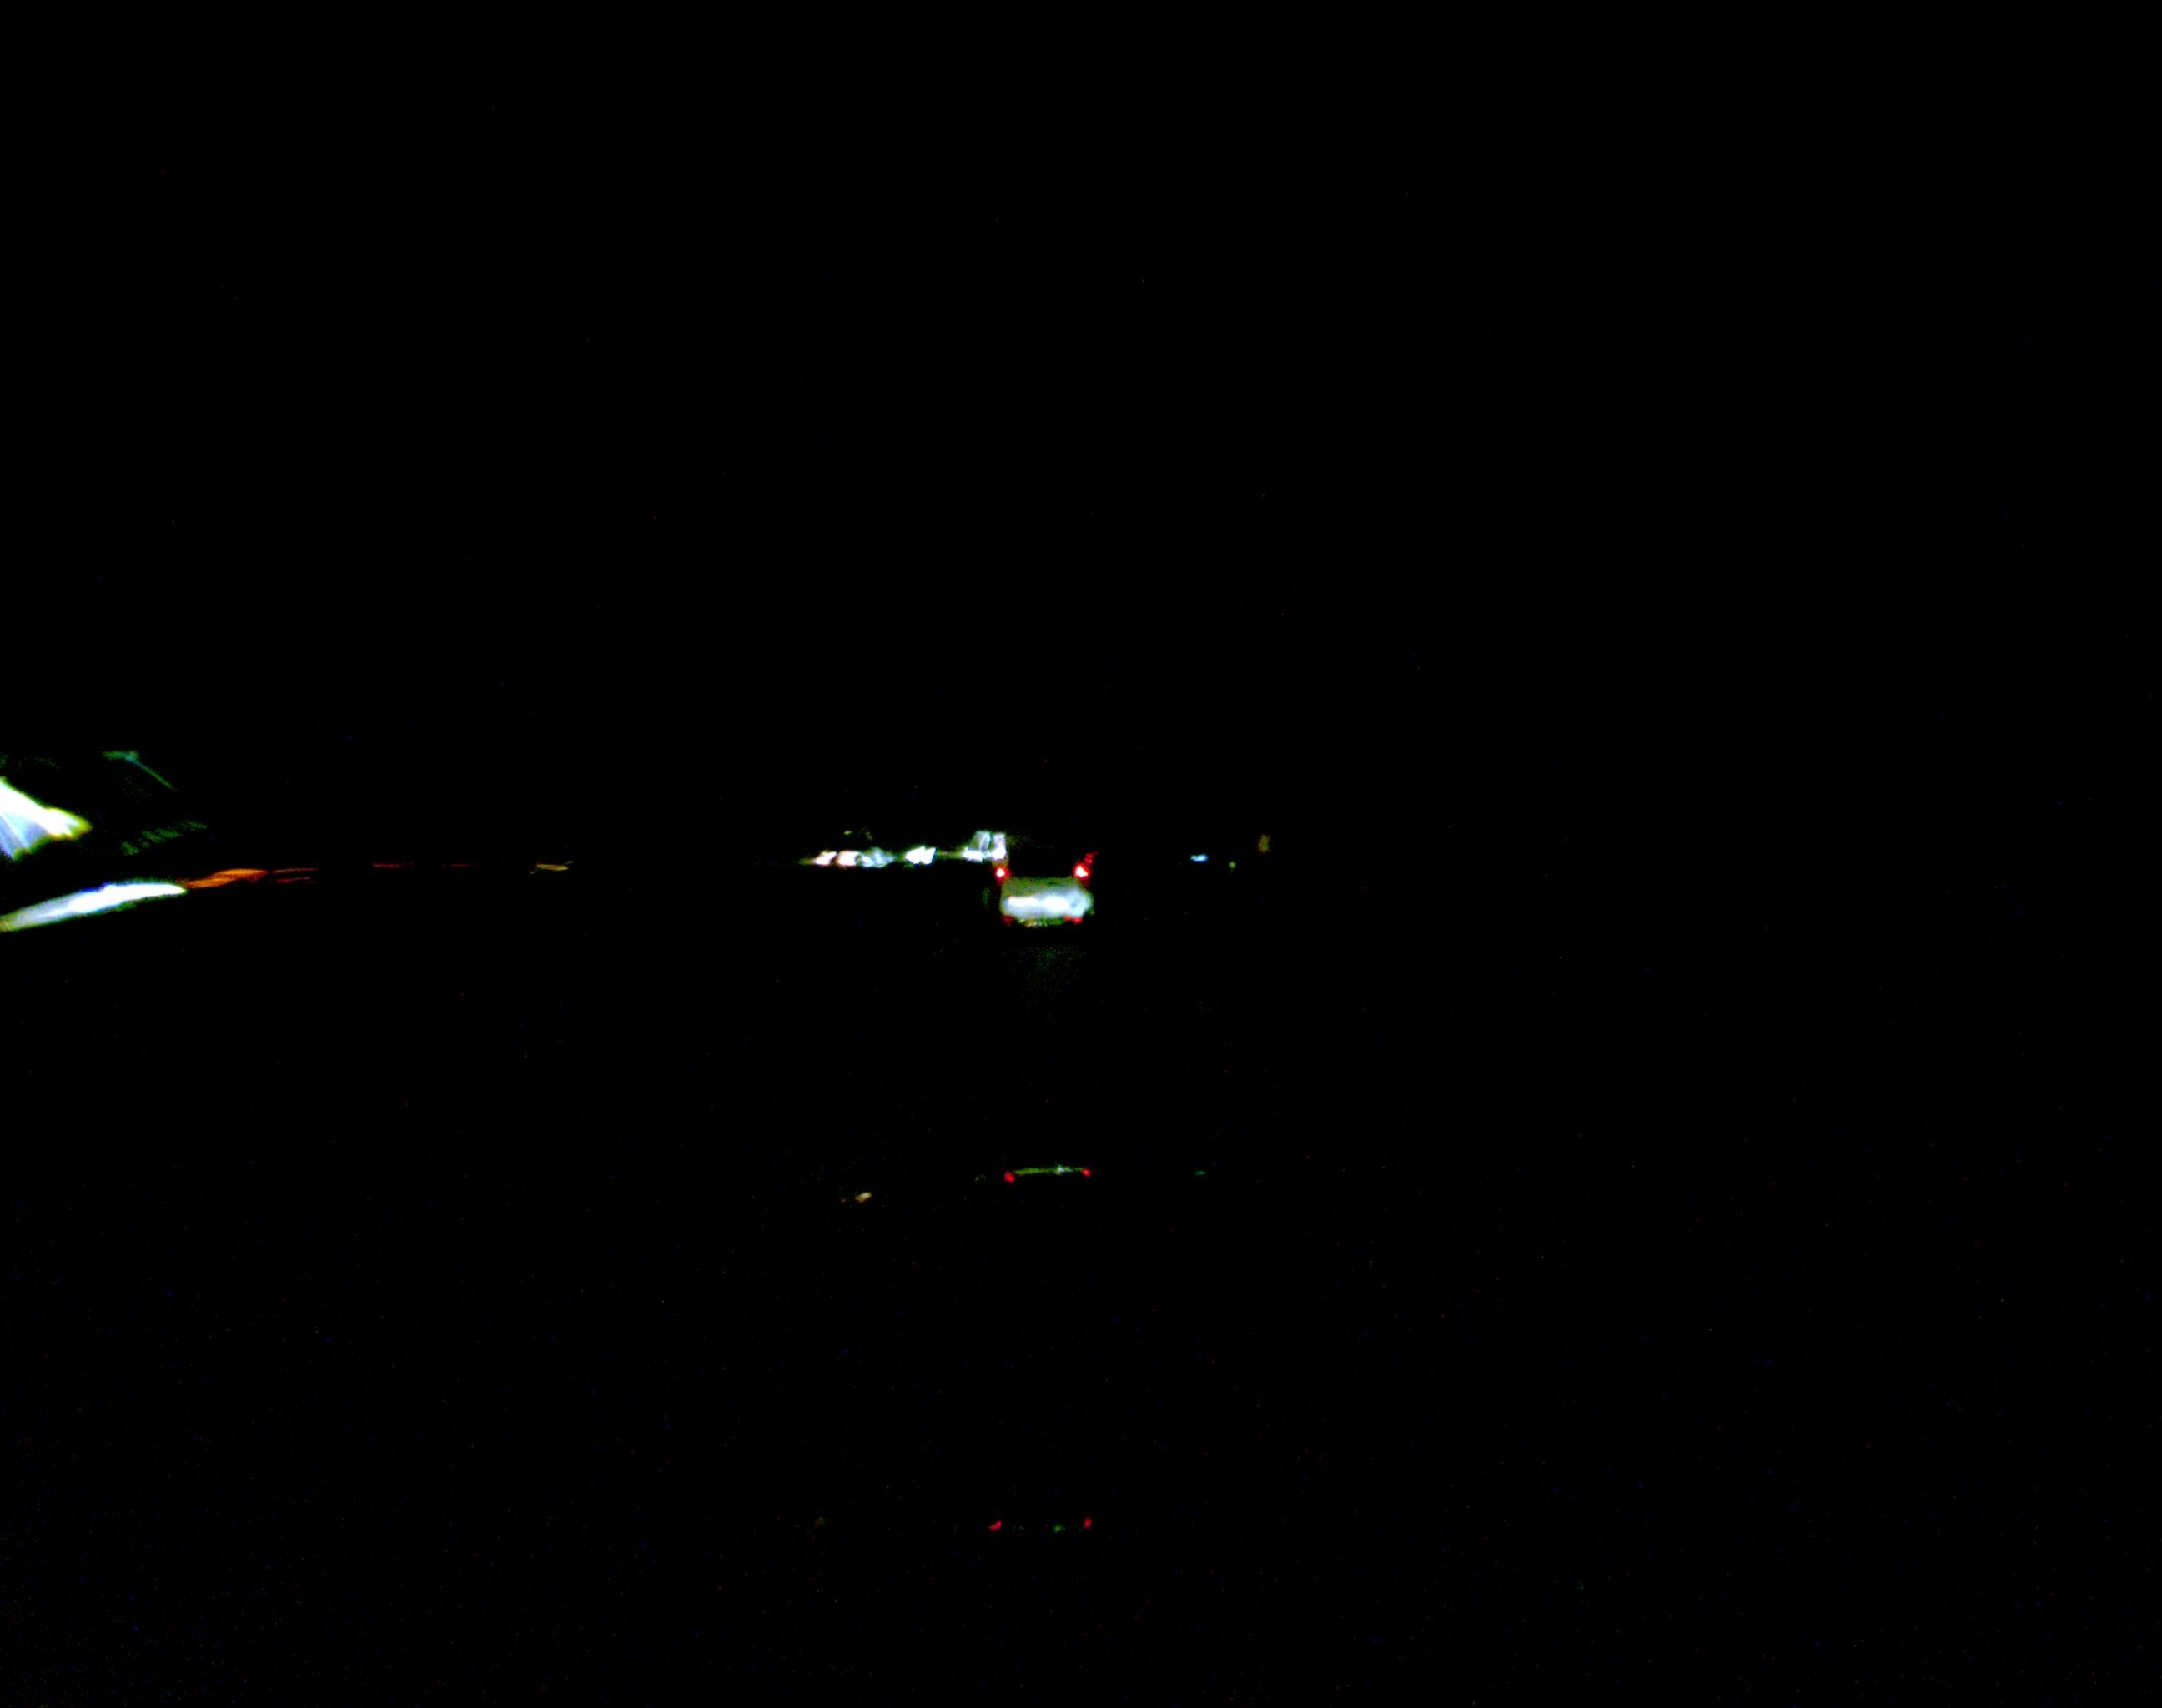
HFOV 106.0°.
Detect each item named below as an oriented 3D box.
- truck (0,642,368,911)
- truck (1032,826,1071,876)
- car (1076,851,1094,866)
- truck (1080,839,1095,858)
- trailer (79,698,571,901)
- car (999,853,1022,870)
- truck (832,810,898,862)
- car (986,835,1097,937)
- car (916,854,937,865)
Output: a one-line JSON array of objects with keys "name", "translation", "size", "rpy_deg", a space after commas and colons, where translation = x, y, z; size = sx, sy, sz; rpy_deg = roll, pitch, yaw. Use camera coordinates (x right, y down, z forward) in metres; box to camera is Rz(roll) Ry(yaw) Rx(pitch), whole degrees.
[{"name": "truck", "translation": [-24.981, -1.770, 22.280], "size": [4.151, 6.128, 7.348], "rpy_deg": [1, -1, 2]}, {"name": "truck", "translation": [-3.332, -0.275, 97.019], "size": [4.154, 5.544, 13.071], "rpy_deg": [1, 0, 0]}, {"name": "car", "translation": [0.436, 0.496, 92.807], "size": [1.987, 1.707, 4.194], "rpy_deg": [1, 0, -1]}, {"name": "truck", "translation": [1.602, -1.369, 217.919], "size": [3.812, 4.915, 11.603], "rpy_deg": [1, 0, 0]}, {"name": "trailer", "translation": [-24.748, -1.428, 28.903], "size": [4.151, 5.445, 13.753], "rpy_deg": [1, 0, 2]}, {"name": "car", "translation": [-7.730, 0.806, 89.700], "size": [1.986, 1.707, 4.198], "rpy_deg": [4, 0, 2]}, {"name": "truck", "translation": [-23.914, -1.861, 90.980], "size": [4.327, 5.141, 10.468], "rpy_deg": [4, 0, -1]}, {"name": "car", "translation": [-0.696, 0.586, 16.970], "size": [1.947, 1.792, 5.123], "rpy_deg": [1, 0, 0]}, {"name": "car", "translation": [-18.867, 0.668, 99.550], "size": [1.701, 1.221, 4.271], "rpy_deg": [2, 0, 0]}]
